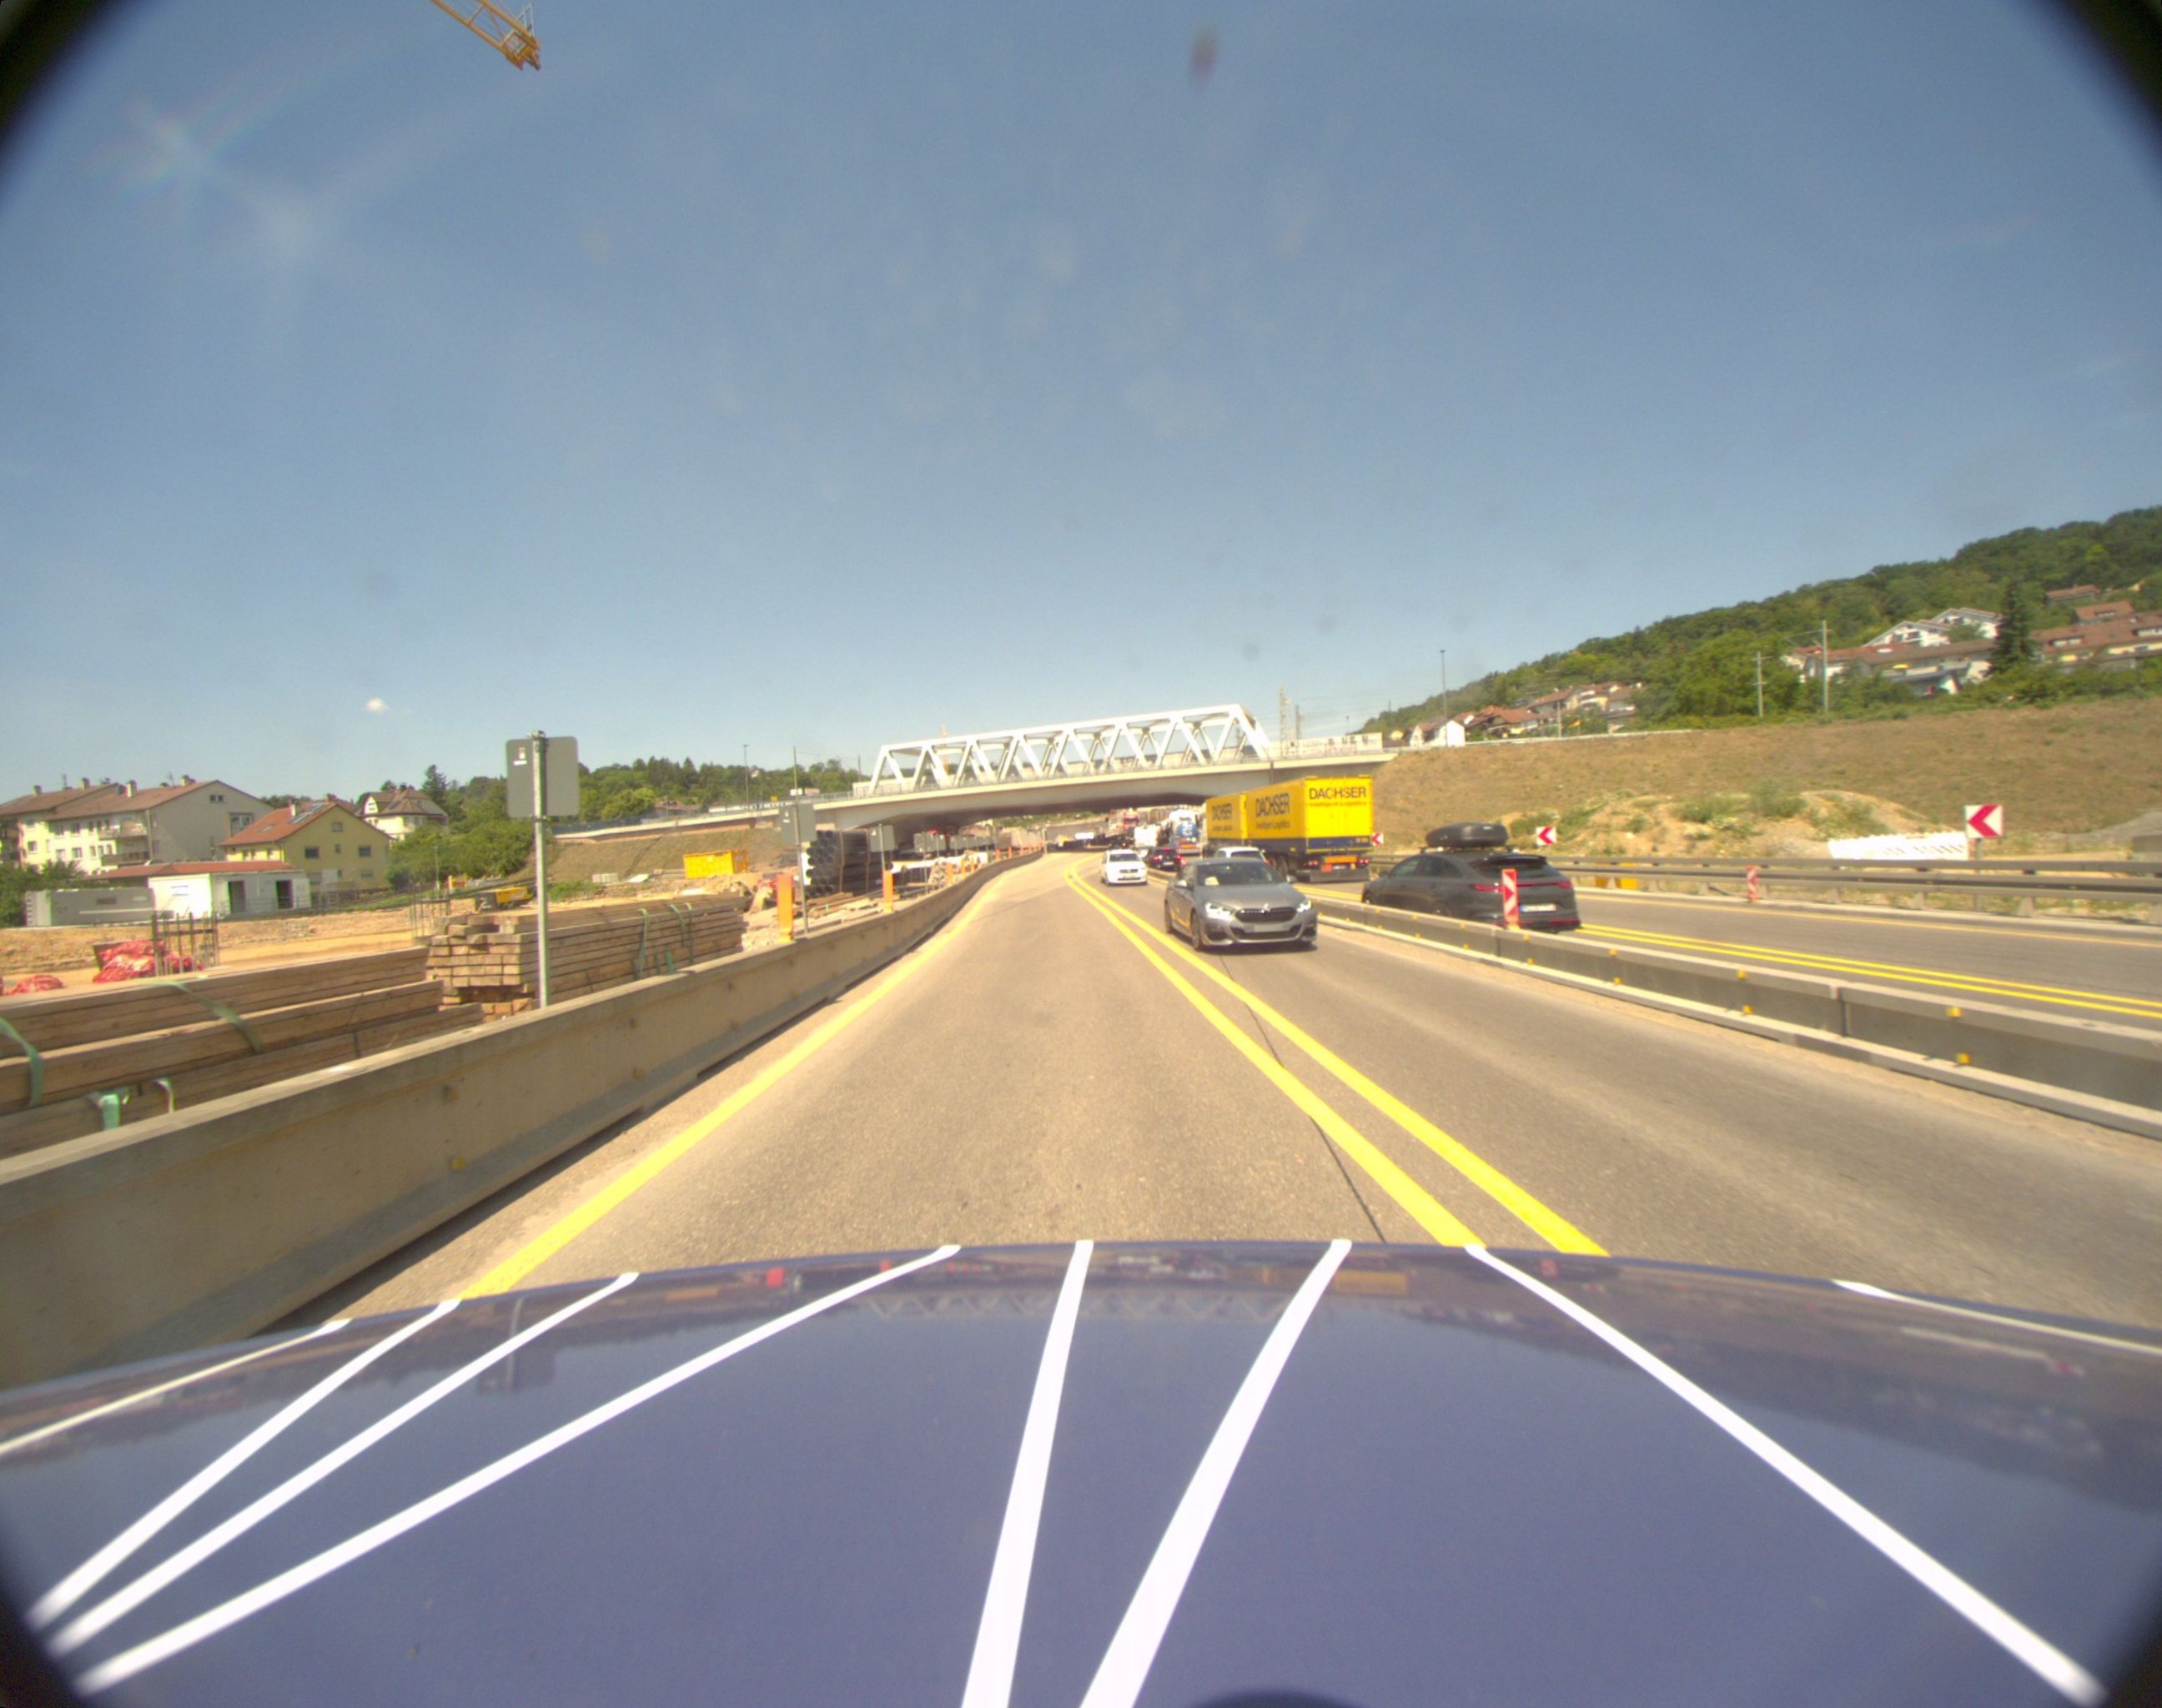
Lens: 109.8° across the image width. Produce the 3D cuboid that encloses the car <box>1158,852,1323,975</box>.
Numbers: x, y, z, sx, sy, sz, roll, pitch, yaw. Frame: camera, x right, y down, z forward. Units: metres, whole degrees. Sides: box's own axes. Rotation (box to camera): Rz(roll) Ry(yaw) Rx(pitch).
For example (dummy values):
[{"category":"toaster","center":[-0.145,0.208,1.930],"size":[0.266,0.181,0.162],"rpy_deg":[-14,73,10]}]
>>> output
[{"category":"car","center":[2.471,0.834,12.865],"size":[1.838,1.588,4.388],"rpy_deg":[-2,1,0]}]

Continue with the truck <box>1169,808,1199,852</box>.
[{"category":"truck","center":[9.613,-2.295,71.288],"size":[2.539,3.801,4.950],"rpy_deg":[-3,3,6]}]

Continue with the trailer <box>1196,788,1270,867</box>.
[{"category":"trailer","center":[8.643,-1.494,43.900],"size":[2.874,4.206,5.215],"rpy_deg":[-2,2,-3]}]

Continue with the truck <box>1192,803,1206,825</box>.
[{"category":"truck","center":[25.975,-8.800,166.973],"size":[2.774,4.291,13.488],"rpy_deg":[-2,4,9]}]

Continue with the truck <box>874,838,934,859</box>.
[{"category":"truck","center":[-21.644,-0.703,93.019],"size":[6.531,2.062,2.666],"rpy_deg":[-3,3,13]}]

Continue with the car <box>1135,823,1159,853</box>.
[{"category":"car","center":[6.148,-1.590,71.167],"size":[2.075,2.490,6.482],"rpy_deg":[-2,3,5]}]

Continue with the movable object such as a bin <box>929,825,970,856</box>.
[{"category":"movable object such as a bin","center":[-16.802,-1.744,97.232],"size":[3.885,3.524,2.905],"rpy_deg":[-3,5,21]}]

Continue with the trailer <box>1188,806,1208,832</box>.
[{"category":"trailer","center":[19.985,-6.015,129.980],"size":[2.882,4.018,14.360],"rpy_deg":[-4,3,9]}]

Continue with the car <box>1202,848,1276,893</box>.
[{"category":"car","center":[5.658,0.553,27.600],"size":[1.641,1.477,3.999],"rpy_deg":[-1,0,-3]}]

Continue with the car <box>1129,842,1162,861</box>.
[{"category":"car","center":[4.650,-0.211,55.161],"size":[1.681,1.257,4.333],"rpy_deg":[-3,1,-4]}]

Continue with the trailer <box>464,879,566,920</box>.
[{"category":"trailer","center":[-26.935,2.112,36.309],"size":[1.627,1.478,3.826],"rpy_deg":[-3,2,6]}]

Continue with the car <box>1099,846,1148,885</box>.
[{"category":"car","center":[1.823,0.466,33.738],"size":[1.838,1.465,4.387],"rpy_deg":[-3,2,0]}]

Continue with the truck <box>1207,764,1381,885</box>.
[{"category":"truck","center":[9.086,-1.234,35.474],"size":[2.815,4.318,15.366],"rpy_deg":[-3,1,-3]}]

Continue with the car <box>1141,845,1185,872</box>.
[{"category":"car","center":[4.598,0.219,43.416],"size":[1.681,1.354,4.500],"rpy_deg":[-3,1,-4]}]

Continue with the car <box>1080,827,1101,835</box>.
[{"category":"car","center":[2.204,-5.531,183.101],"size":[4.800,1.759,1.719],"rpy_deg":[-4,3,4]}]

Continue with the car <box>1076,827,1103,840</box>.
[{"category":"car","center":[2.082,-5.167,189.807],"size":[6.304,2.567,2.053],"rpy_deg":[-6,2,-3]}]

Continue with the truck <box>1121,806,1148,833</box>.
[{"category":"truck","center":[9.407,-6.045,131.740],"size":[3.461,4.026,10.210],"rpy_deg":[-2,4,10]}]

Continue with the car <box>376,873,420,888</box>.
[{"category":"car","center":[-80.561,3.093,89.632],"size":[4.160,1.500,1.578],"rpy_deg":[-2,5,13]}]

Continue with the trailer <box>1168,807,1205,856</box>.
[{"category":"trailer","center":[9.044,-2.006,65.802],"size":[2.531,3.768,10.244],"rpy_deg":[-3,2,6]}]

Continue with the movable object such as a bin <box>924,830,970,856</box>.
[{"category":"movable object such as a bin","center":[-17.926,-1.458,101.607],"size":[5.247,3.041,2.497],"rpy_deg":[-3,4,14]}]

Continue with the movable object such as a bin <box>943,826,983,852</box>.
[{"category":"movable object such as a bin","center":[-16.857,-2.154,108.761],"size":[4.560,3.270,2.991],"rpy_deg":[-3,4,14]}]

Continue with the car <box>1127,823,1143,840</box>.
[{"category":"car","center":[7.329,-3.060,102.678],"size":[1.998,2.003,3.998],"rpy_deg":[-2,4,6]}]

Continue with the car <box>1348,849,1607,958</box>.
[{"category":"car","center":[6.346,0.682,12.906],"size":[1.825,1.427,4.582],"rpy_deg":[-3,0,-2]}]

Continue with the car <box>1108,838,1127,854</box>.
[{"category":"car","center":[3.874,-0.879,80.404],"size":[1.800,1.543,3.999],"rpy_deg":[-3,2,4]}]
